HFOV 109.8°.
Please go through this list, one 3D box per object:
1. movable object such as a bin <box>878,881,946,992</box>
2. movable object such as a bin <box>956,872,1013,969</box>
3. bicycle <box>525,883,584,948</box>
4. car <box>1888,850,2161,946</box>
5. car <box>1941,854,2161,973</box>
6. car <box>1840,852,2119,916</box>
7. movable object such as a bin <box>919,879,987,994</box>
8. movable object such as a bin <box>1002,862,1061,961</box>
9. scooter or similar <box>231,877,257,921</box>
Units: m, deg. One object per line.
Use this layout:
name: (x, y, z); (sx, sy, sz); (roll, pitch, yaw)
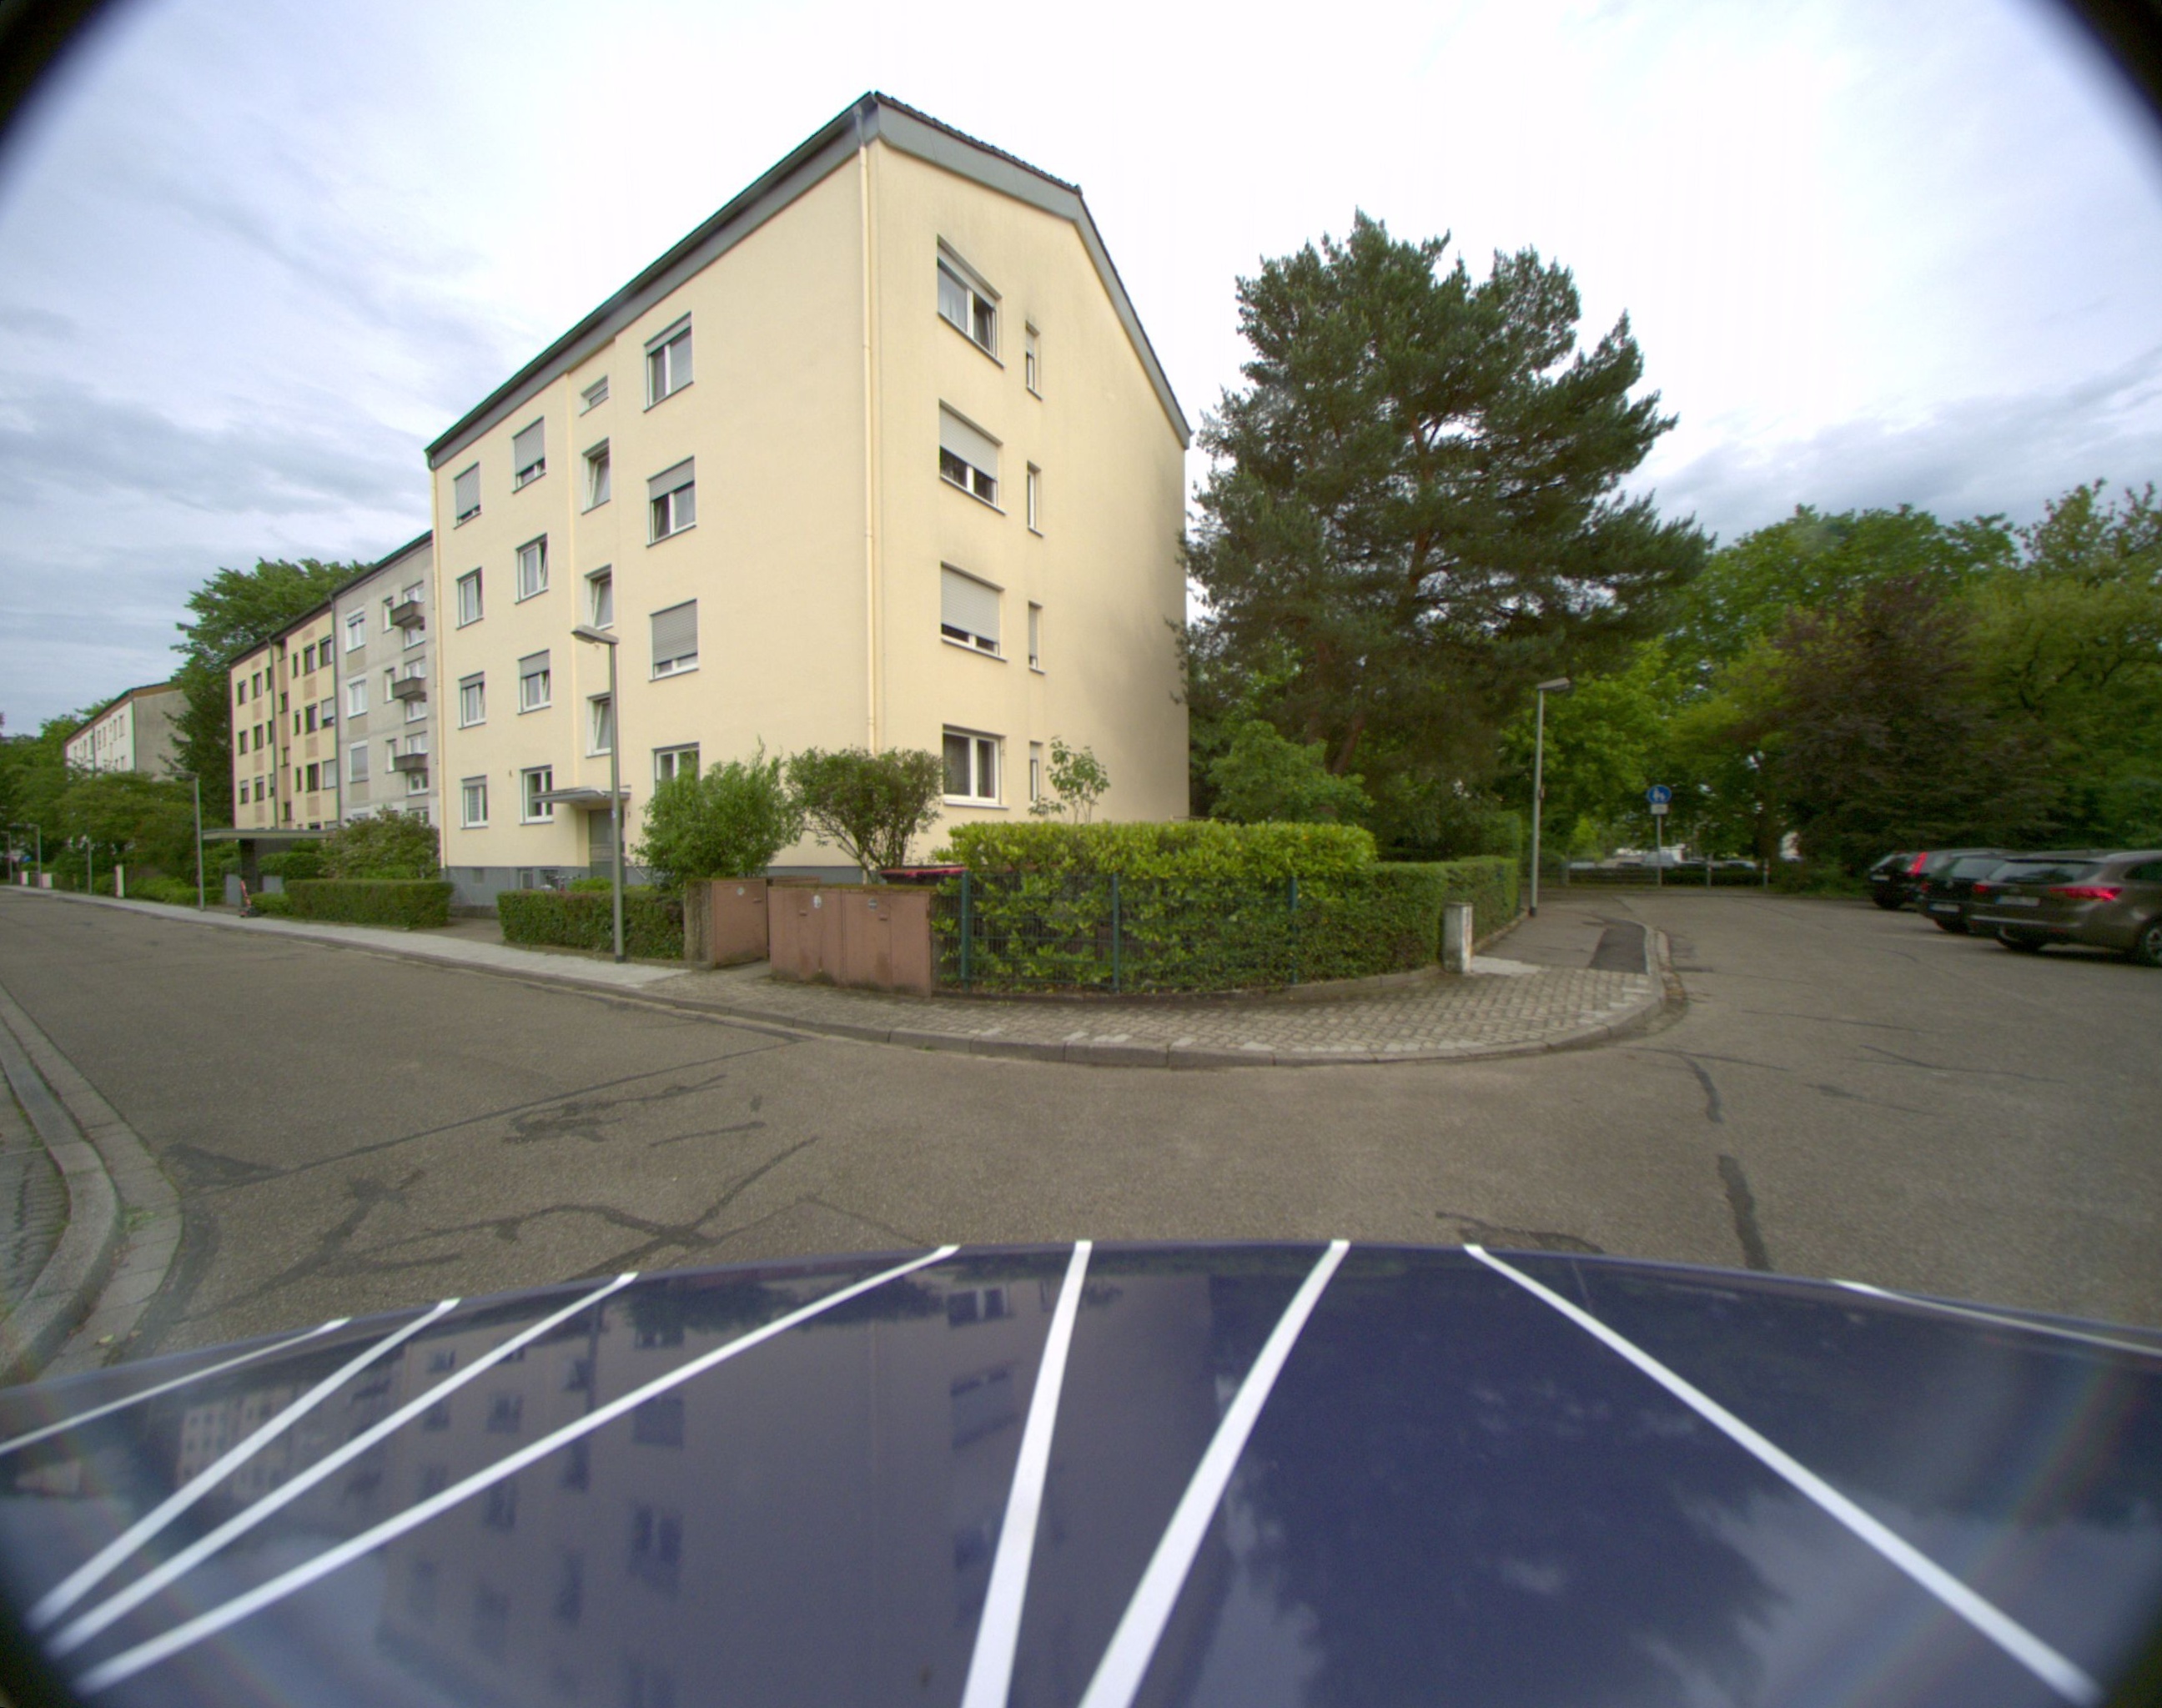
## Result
movable object such as a bin: (-1.905, 0.912, 8.591); (0.514, 1.181, 0.508); (0, 1, 32)
movable object such as a bin: (-1.221, 0.818, 9.666); (0.514, 1.180, 0.508); (0, 0, 32)
bicycle: (-9.388, 1.070, 13.533); (1.414, 1.069, 0.319); (0, 2, 33)
car: (16.639, 0.693, 12.789); (3.994, 1.482, 1.702); (0, 1, 8)
car: (14.808, 0.754, 10.314); (3.994, 1.482, 1.702); (0, 1, 8)
car: (20.348, 0.653, 17.388); (3.994, 1.367, 1.702); (0, 1, 8)
movable object such as a bin: (-1.385, 0.871, 8.254); (0.514, 1.180, 0.508); (0, 0, 32)
movable object such as a bin: (-0.605, 0.676, 9.280); (0.514, 1.158, 0.508); (0, 0, 32)
scooter or similar: (-23.421, 1.242, 21.252); (1.161, 1.204, 0.274); (-1, 0, 32)
